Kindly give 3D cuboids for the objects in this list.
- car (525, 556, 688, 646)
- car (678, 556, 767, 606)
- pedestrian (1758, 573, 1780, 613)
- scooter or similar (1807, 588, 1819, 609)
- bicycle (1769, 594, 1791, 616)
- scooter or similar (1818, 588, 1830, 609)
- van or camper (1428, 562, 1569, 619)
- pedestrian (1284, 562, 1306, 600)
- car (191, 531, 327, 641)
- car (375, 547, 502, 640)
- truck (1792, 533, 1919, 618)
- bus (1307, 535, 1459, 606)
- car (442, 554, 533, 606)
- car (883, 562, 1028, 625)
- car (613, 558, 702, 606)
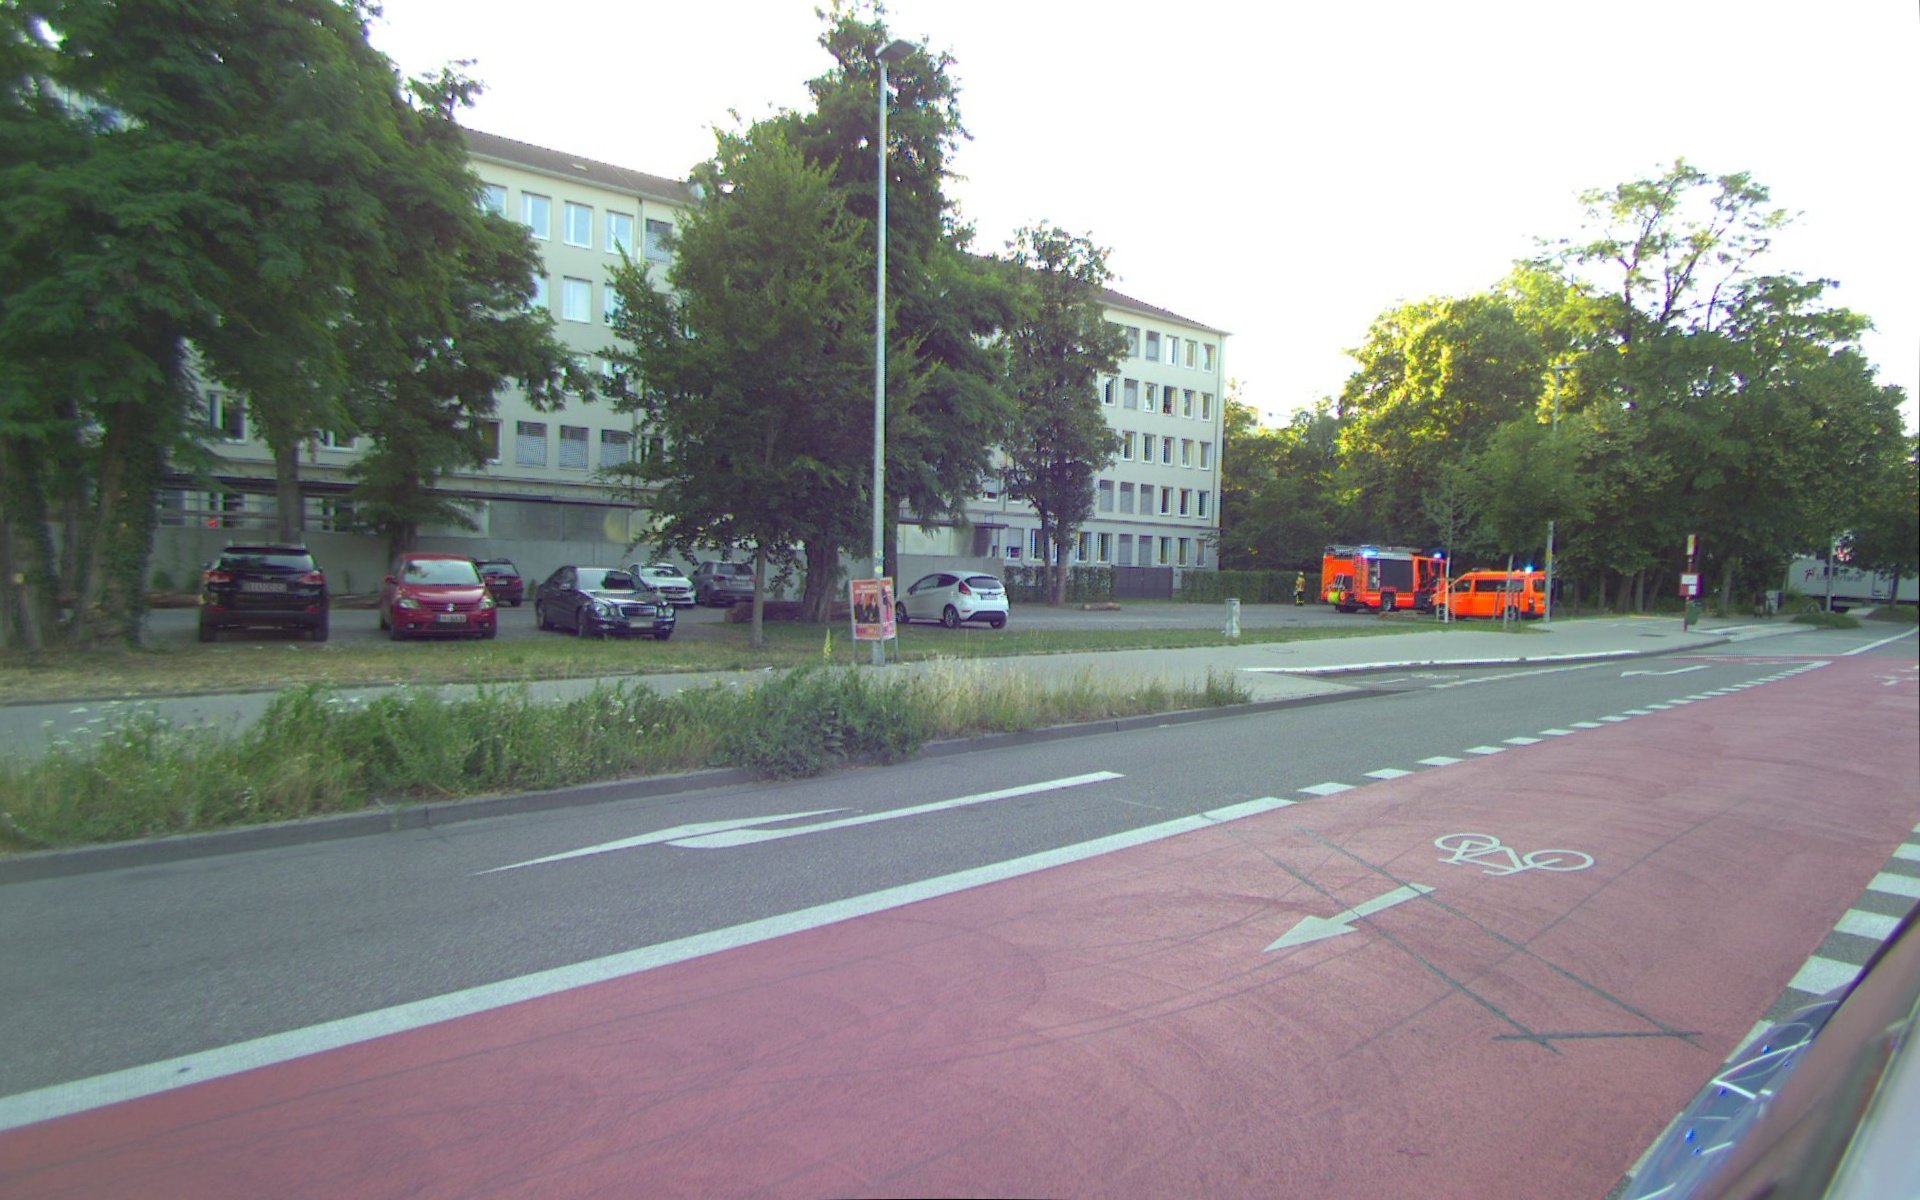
[{"bbox_3d":[-7.446,-0.085,21.012,1.866,1.465,4.584,-2,6,-37],"label":"car"},{"bbox_3d":[-8.353,-0.691,35.426,1.875,1.636,4.004,-1,2,-32],"label":"car"},{"bbox_3d":[42.224,-0.371,52.855,0.719,2.038,0.688,2,2,29],"label":"pedestrian"},{"bbox_3d":[53.277,-0.096,63.177,0.482,1.297,1.213,5,3,40],"label":"scooter or similar"},{"bbox_3d":[42.559,0.260,52.544,0.828,1.111,1.942,1,1,37],"label":"bicycle"},{"bbox_3d":[54.814,-0.082,64.207,0.482,1.297,1.123,5,3,41],"label":"scooter or similar"},{"bbox_3d":[23.003,-0.450,43.397,2.250,2.272,4.833,0,1,-32],"label":"van or camper"},{"bbox_3d":[18.450,-1.052,55.692,0.810,2.038,0.774,1,2,-32],"label":"pedestrian"},{"bbox_3d":[-12.398,-0.280,17.893,1.802,1.715,3.910,0,1,-36],"label":"car"},{"bbox_3d":[-10.154,-0.194,19.552,1.751,1.580,4.003,0,2,-34],"label":"car"},{"bbox_3d":[66.251,-1.615,68.113,5.051,5.642,15.120,1,2,-22],"label":"truck"},{"bbox_3d":[20.742,-1.385,49.485,7.810,3.236,2.999,0,1,-34],"label":"bus"},{"bbox_3d":[-14.463,-0.629,30.873,1.866,1.460,4.001,0,2,-35],"label":"car"},{"bbox_3d":[-0.203,-0.223,27.048,1.876,1.556,3.999,0,2,-37],"label":"car"},{"bbox_3d":[-10.143,-0.625,33.730,1.798,1.494,4.002,0,1,-33],"label":"car"}]
